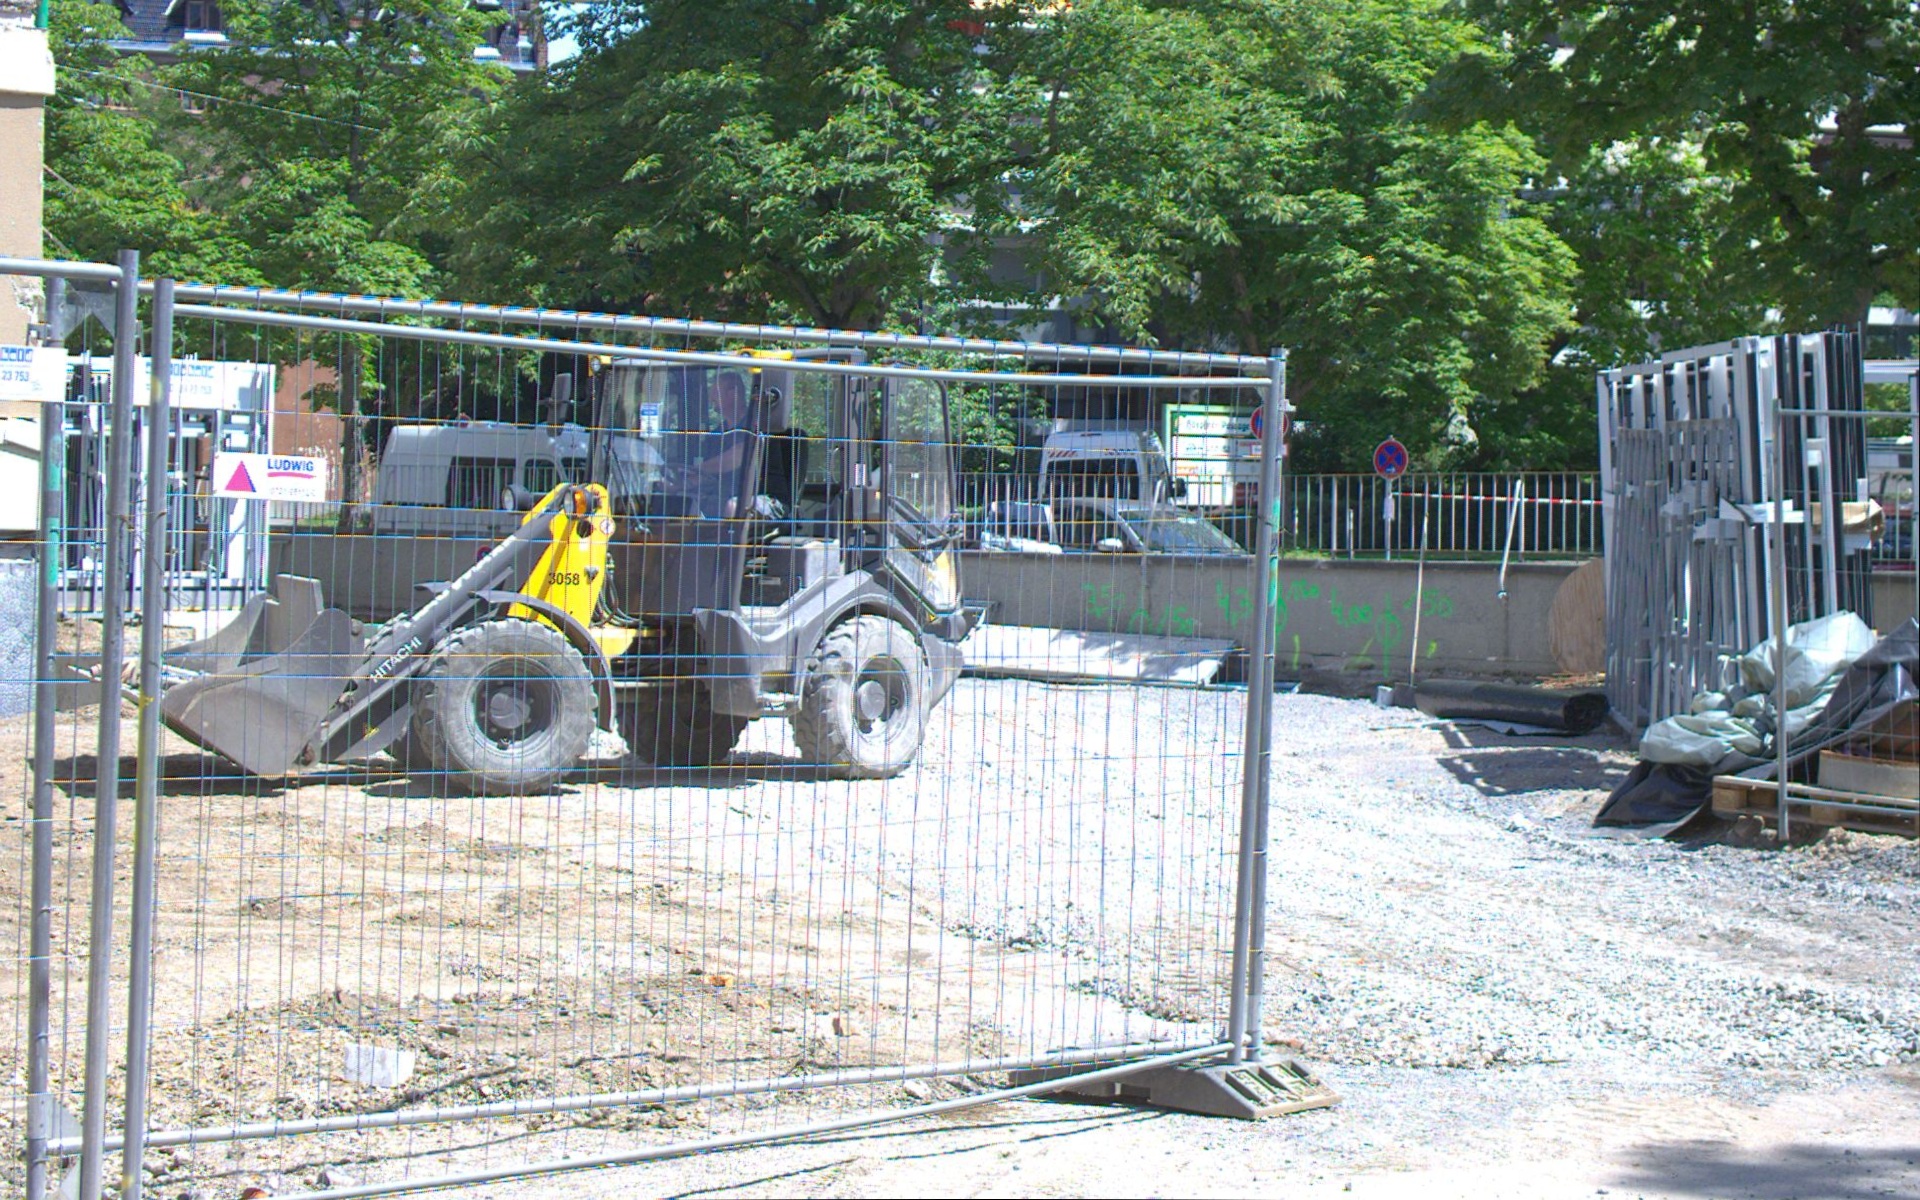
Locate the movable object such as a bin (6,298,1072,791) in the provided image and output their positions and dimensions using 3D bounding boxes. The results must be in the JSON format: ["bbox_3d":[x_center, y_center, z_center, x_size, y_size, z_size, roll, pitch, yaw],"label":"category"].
[{"bbox_3d":[-2.347,-0.277,19.397,5.402,2.455,2.368,1,2,-28],"label":"movable object such as a bin"}]

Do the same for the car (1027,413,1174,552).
[{"bbox_3d":[2.447,-1.986,58.700,2.185,2.250,4.868,1,1,6],"label":"car"}]

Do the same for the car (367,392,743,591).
[{"bbox_3d":[-5.270,-1.383,44.166,1.995,2.408,5.240,-1,2,-45],"label":"car"}]
